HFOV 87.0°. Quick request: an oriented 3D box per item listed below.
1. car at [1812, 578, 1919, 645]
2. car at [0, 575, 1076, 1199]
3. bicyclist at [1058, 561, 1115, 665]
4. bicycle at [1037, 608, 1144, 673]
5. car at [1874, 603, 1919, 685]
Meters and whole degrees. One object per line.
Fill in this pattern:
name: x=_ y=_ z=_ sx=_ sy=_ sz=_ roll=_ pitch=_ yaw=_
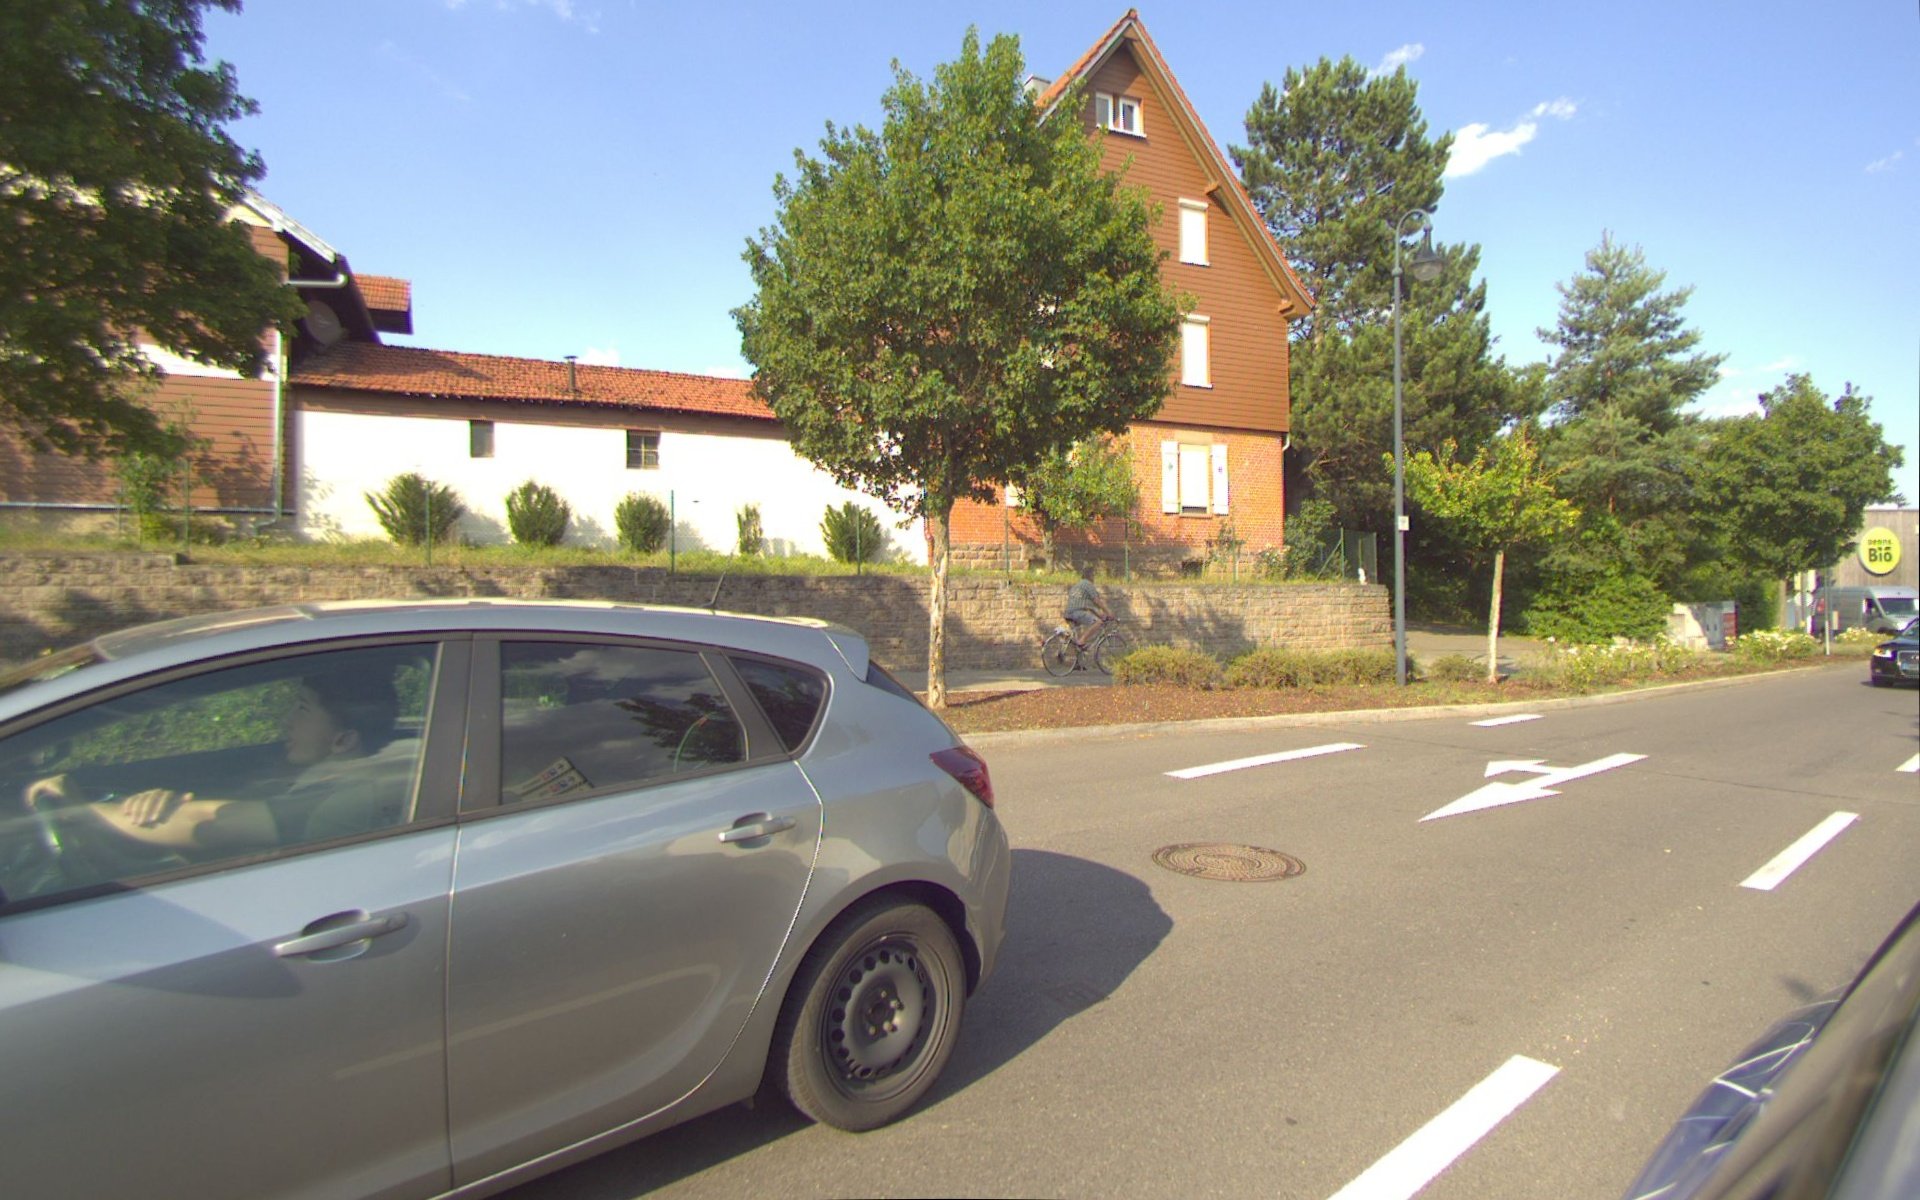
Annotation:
car: x=38.419 y=0.421 z=41.882 sx=2.338 sy=2.579 sz=6.164 roll=0 pitch=0 yaw=15
car: x=-1.753 y=0.681 z=2.544 sx=4.093 sy=1.460 sz=1.747 roll=0 pitch=0 yaw=-40
bicyclist: x=2.111 y=0.206 z=16.919 sx=0.719 sy=1.699 sz=0.605 roll=0 pitch=0 yaw=-28
bicycle: x=2.199 y=0.659 z=16.960 sx=1.838 sy=1.031 sz=0.523 roll=0 pitch=0 yaw=-29
car: x=19.409 y=0.794 z=19.219 sx=4.497 sy=1.453 sz=1.688 roll=0 pitch=0 yaw=-29
